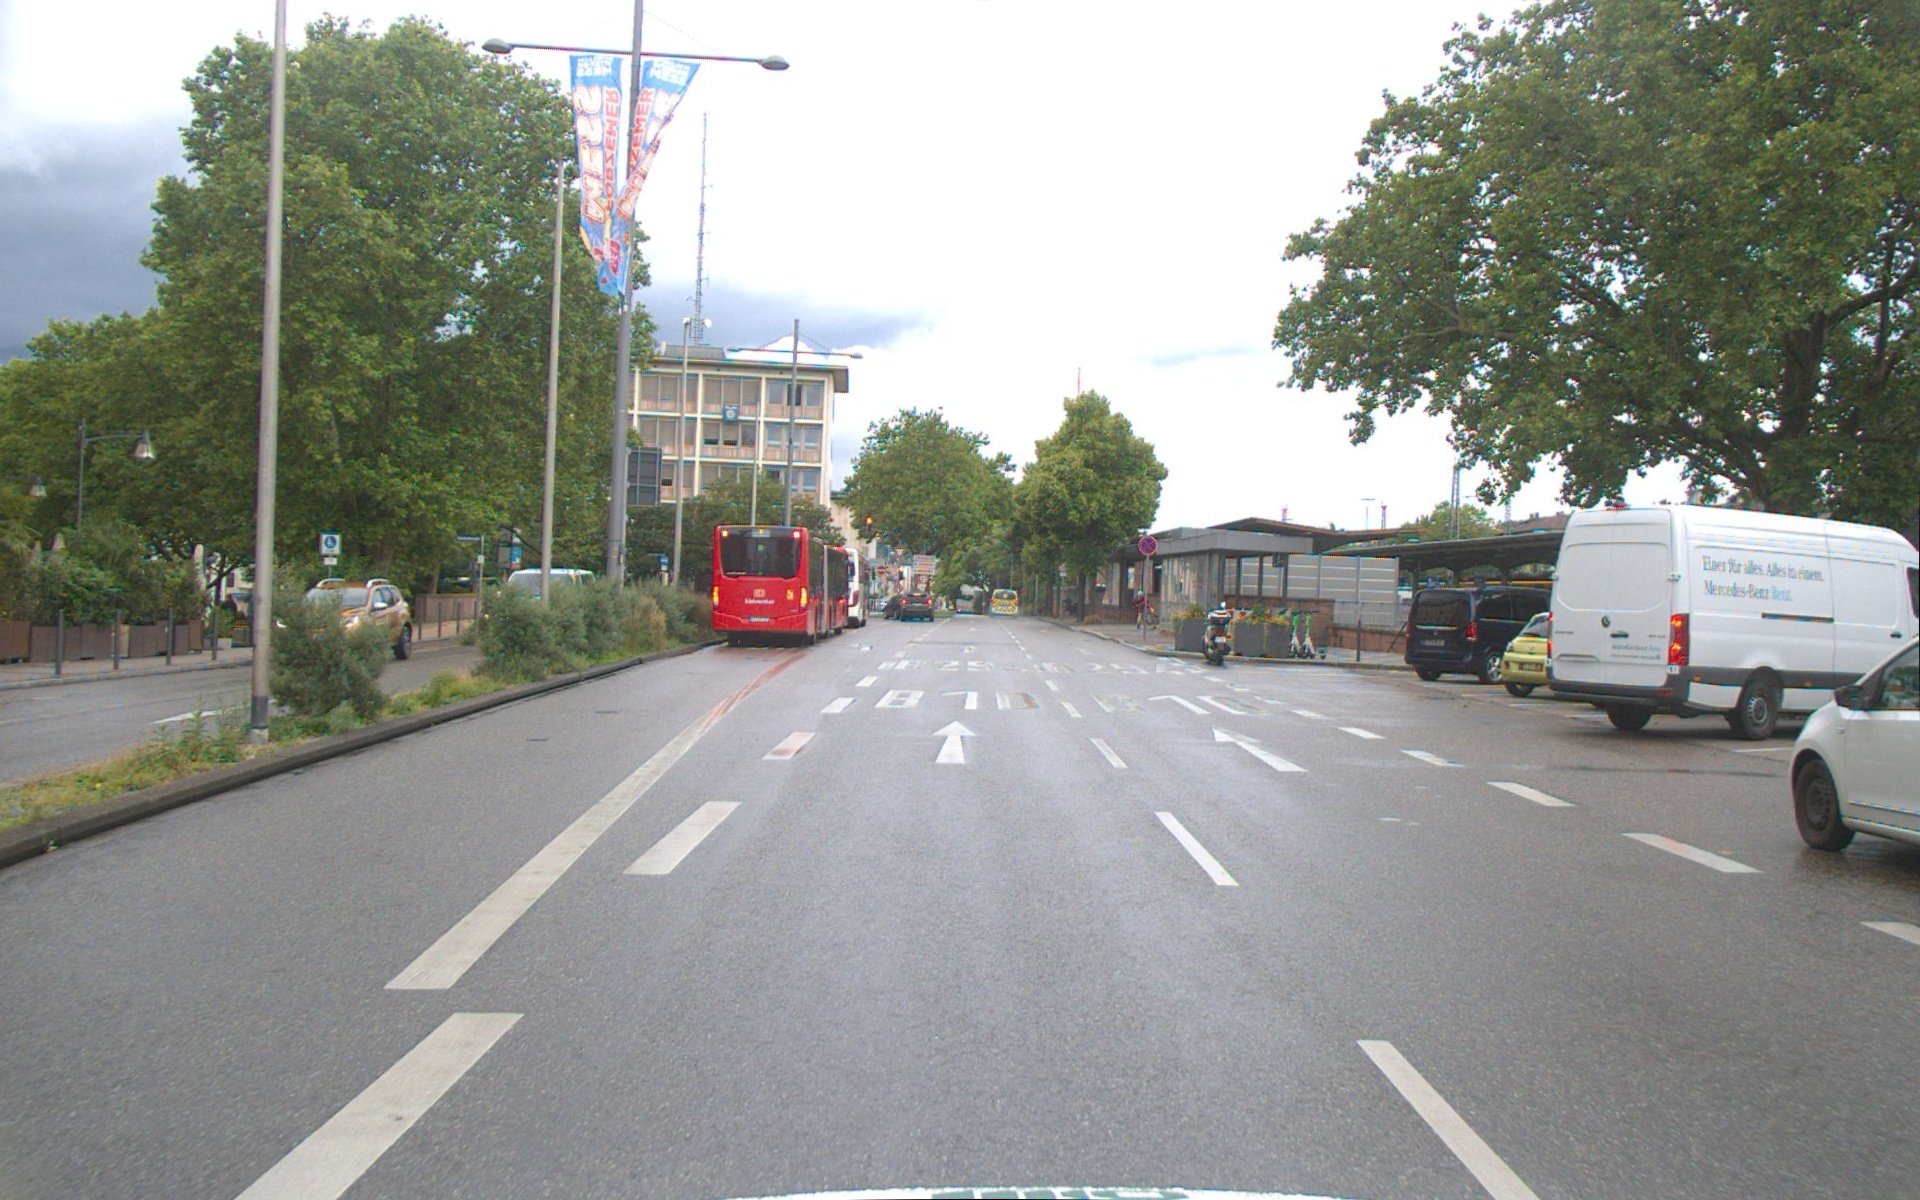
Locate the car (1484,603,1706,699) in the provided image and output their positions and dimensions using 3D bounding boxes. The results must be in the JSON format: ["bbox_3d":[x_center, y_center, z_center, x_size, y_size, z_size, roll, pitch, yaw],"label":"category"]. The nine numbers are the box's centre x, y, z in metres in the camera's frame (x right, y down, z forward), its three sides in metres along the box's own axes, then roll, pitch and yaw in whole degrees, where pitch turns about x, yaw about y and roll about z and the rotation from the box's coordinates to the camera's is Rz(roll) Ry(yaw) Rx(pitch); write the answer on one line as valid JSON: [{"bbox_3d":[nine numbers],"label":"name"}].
[{"bbox_3d":[10.974,0.845,28.544,3.540,1.551,1.746,1,0,-30],"label":"car"}]

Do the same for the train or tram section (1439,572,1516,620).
[{"bbox_3d":[37.701,-0.266,120.753,2.600,3.340,9.132,0,0,-1],"label":"train or tram section"}]

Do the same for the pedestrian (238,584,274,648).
[{"bbox_3d":[-17.274,0.392,40.577,0.677,1.556,0.725,0,0,-12],"label":"pedestrian"}]

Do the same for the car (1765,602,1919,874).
[{"bbox_3d":[6.146,0.782,9.233,1.623,1.500,3.589,1,0,2],"label":"car"}]

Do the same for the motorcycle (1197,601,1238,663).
[{"bbox_3d":[5.886,0.713,37.924,0.630,1.376,2.109,1,0,1],"label":"motorcycle"}]

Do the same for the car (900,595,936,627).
[{"bbox_3d":[-2.289,0.592,91.031,1.924,1.668,4.357,1,0,-1],"label":"car"}]

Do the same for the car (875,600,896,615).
[{"bbox_3d":[-7.281,0.740,161.195,1.656,1.320,4.094,2,-1,2],"label":"car"}]

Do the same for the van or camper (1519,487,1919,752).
[{"bbox_3d":[10.159,0.227,20.887,6.442,2.919,2.257,1,0,-31],"label":"van or camper"}]

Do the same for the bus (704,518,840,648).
[{"bbox_3d":[-5.163,-0.451,47.297,2.752,3.302,9.912,1,0,0],"label":"bus"}]

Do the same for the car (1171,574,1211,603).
[{"bbox_3d":[15.543,-0.762,111.716,1.953,1.904,4.597,1,0,-1],"label":"car"}]

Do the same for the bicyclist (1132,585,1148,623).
[{"bbox_3d":[7.480,0.183,68.792,0.523,1.565,0.694,-1,0,-3],"label":"bicyclist"}]

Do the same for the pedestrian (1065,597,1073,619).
[{"bbox_3d":[7.731,0.578,117.229,0.448,1.596,0.392,-1,-1,32],"label":"pedestrian"}]

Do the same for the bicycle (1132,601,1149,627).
[{"bbox_3d":[7.498,0.584,68.833,0.437,1.034,1.677,-1,0,-2],"label":"bicycle"}]

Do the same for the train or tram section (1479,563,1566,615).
[{"bbox_3d":[37.882,-0.683,111.711,2.600,3.340,9.132,0,0,-1],"label":"train or tram section"}]

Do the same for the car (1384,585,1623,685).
[{"bbox_3d":[11.090,0.676,33.700,4.633,1.907,2.088,1,0,-30],"label":"car"}]

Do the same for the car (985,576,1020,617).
[{"bbox_3d":[2.904,-0.244,113.916,2.218,2.703,3.999,0,0,-2],"label":"car"}]

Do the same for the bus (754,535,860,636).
[{"bbox_3d":[-5.105,-0.476,56.680,2.695,3.187,8.843,1,0,1],"label":"bus"}]

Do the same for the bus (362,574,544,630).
[{"bbox_3d":[-32.022,0.161,104.354,11.688,3.072,2.889,-2,-1,21],"label":"bus"}]

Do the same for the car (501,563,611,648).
[{"bbox_3d":[-10.126,0.123,41.778,1.883,2.008,4.852,1,0,-4],"label":"car"}]

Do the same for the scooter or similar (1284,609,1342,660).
[{"bbox_3d":[8.726,0.844,40.966,1.043,1.175,1.667,3,0,1],"label":"scooter or similar"}]

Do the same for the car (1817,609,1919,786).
[{"bbox_3d":[10.143,0.858,15.249,4.407,1.497,1.901,1,0,-30],"label":"car"}]

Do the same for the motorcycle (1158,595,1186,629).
[{"bbox_3d":[8.809,0.501,68.822,0.775,1.371,2.456,1,0,-2],"label":"motorcycle"}]

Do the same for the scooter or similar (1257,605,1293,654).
[{"bbox_3d":[7.782,0.737,40.785,0.405,1.175,1.260,3,0,31],"label":"scooter or similar"}]

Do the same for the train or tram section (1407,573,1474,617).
[{"bbox_3d":[37.576,-0.349,129.711,2.600,3.340,8.761,0,0,-1],"label":"train or tram section"}]

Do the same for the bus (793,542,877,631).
[{"bbox_3d":[-5.337,-0.557,72.556,2.895,3.499,12.556,1,0,-1],"label":"bus"}]

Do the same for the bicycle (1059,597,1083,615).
[{"bbox_3d":[7.910,0.427,117.646,1.688,1.271,0.485,0,-1,32],"label":"bicycle"}]

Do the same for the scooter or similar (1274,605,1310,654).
[{"bbox_3d":[8.146,0.726,40.540,0.405,1.175,1.260,3,0,31],"label":"scooter or similar"}]

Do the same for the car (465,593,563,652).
[{"bbox_3d":[-12.735,0.609,47.496,1.755,1.606,4.737,0,0,-3],"label":"car"}]

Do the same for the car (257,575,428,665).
[{"bbox_3d":[-12.484,0.375,33.719,1.953,1.710,4.101,1,0,0],"label":"car"}]

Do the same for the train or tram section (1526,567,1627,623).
[{"bbox_3d":[38.070,-0.275,102.517,2.600,3.340,9.518,0,0,-1],"label":"train or tram section"}]
